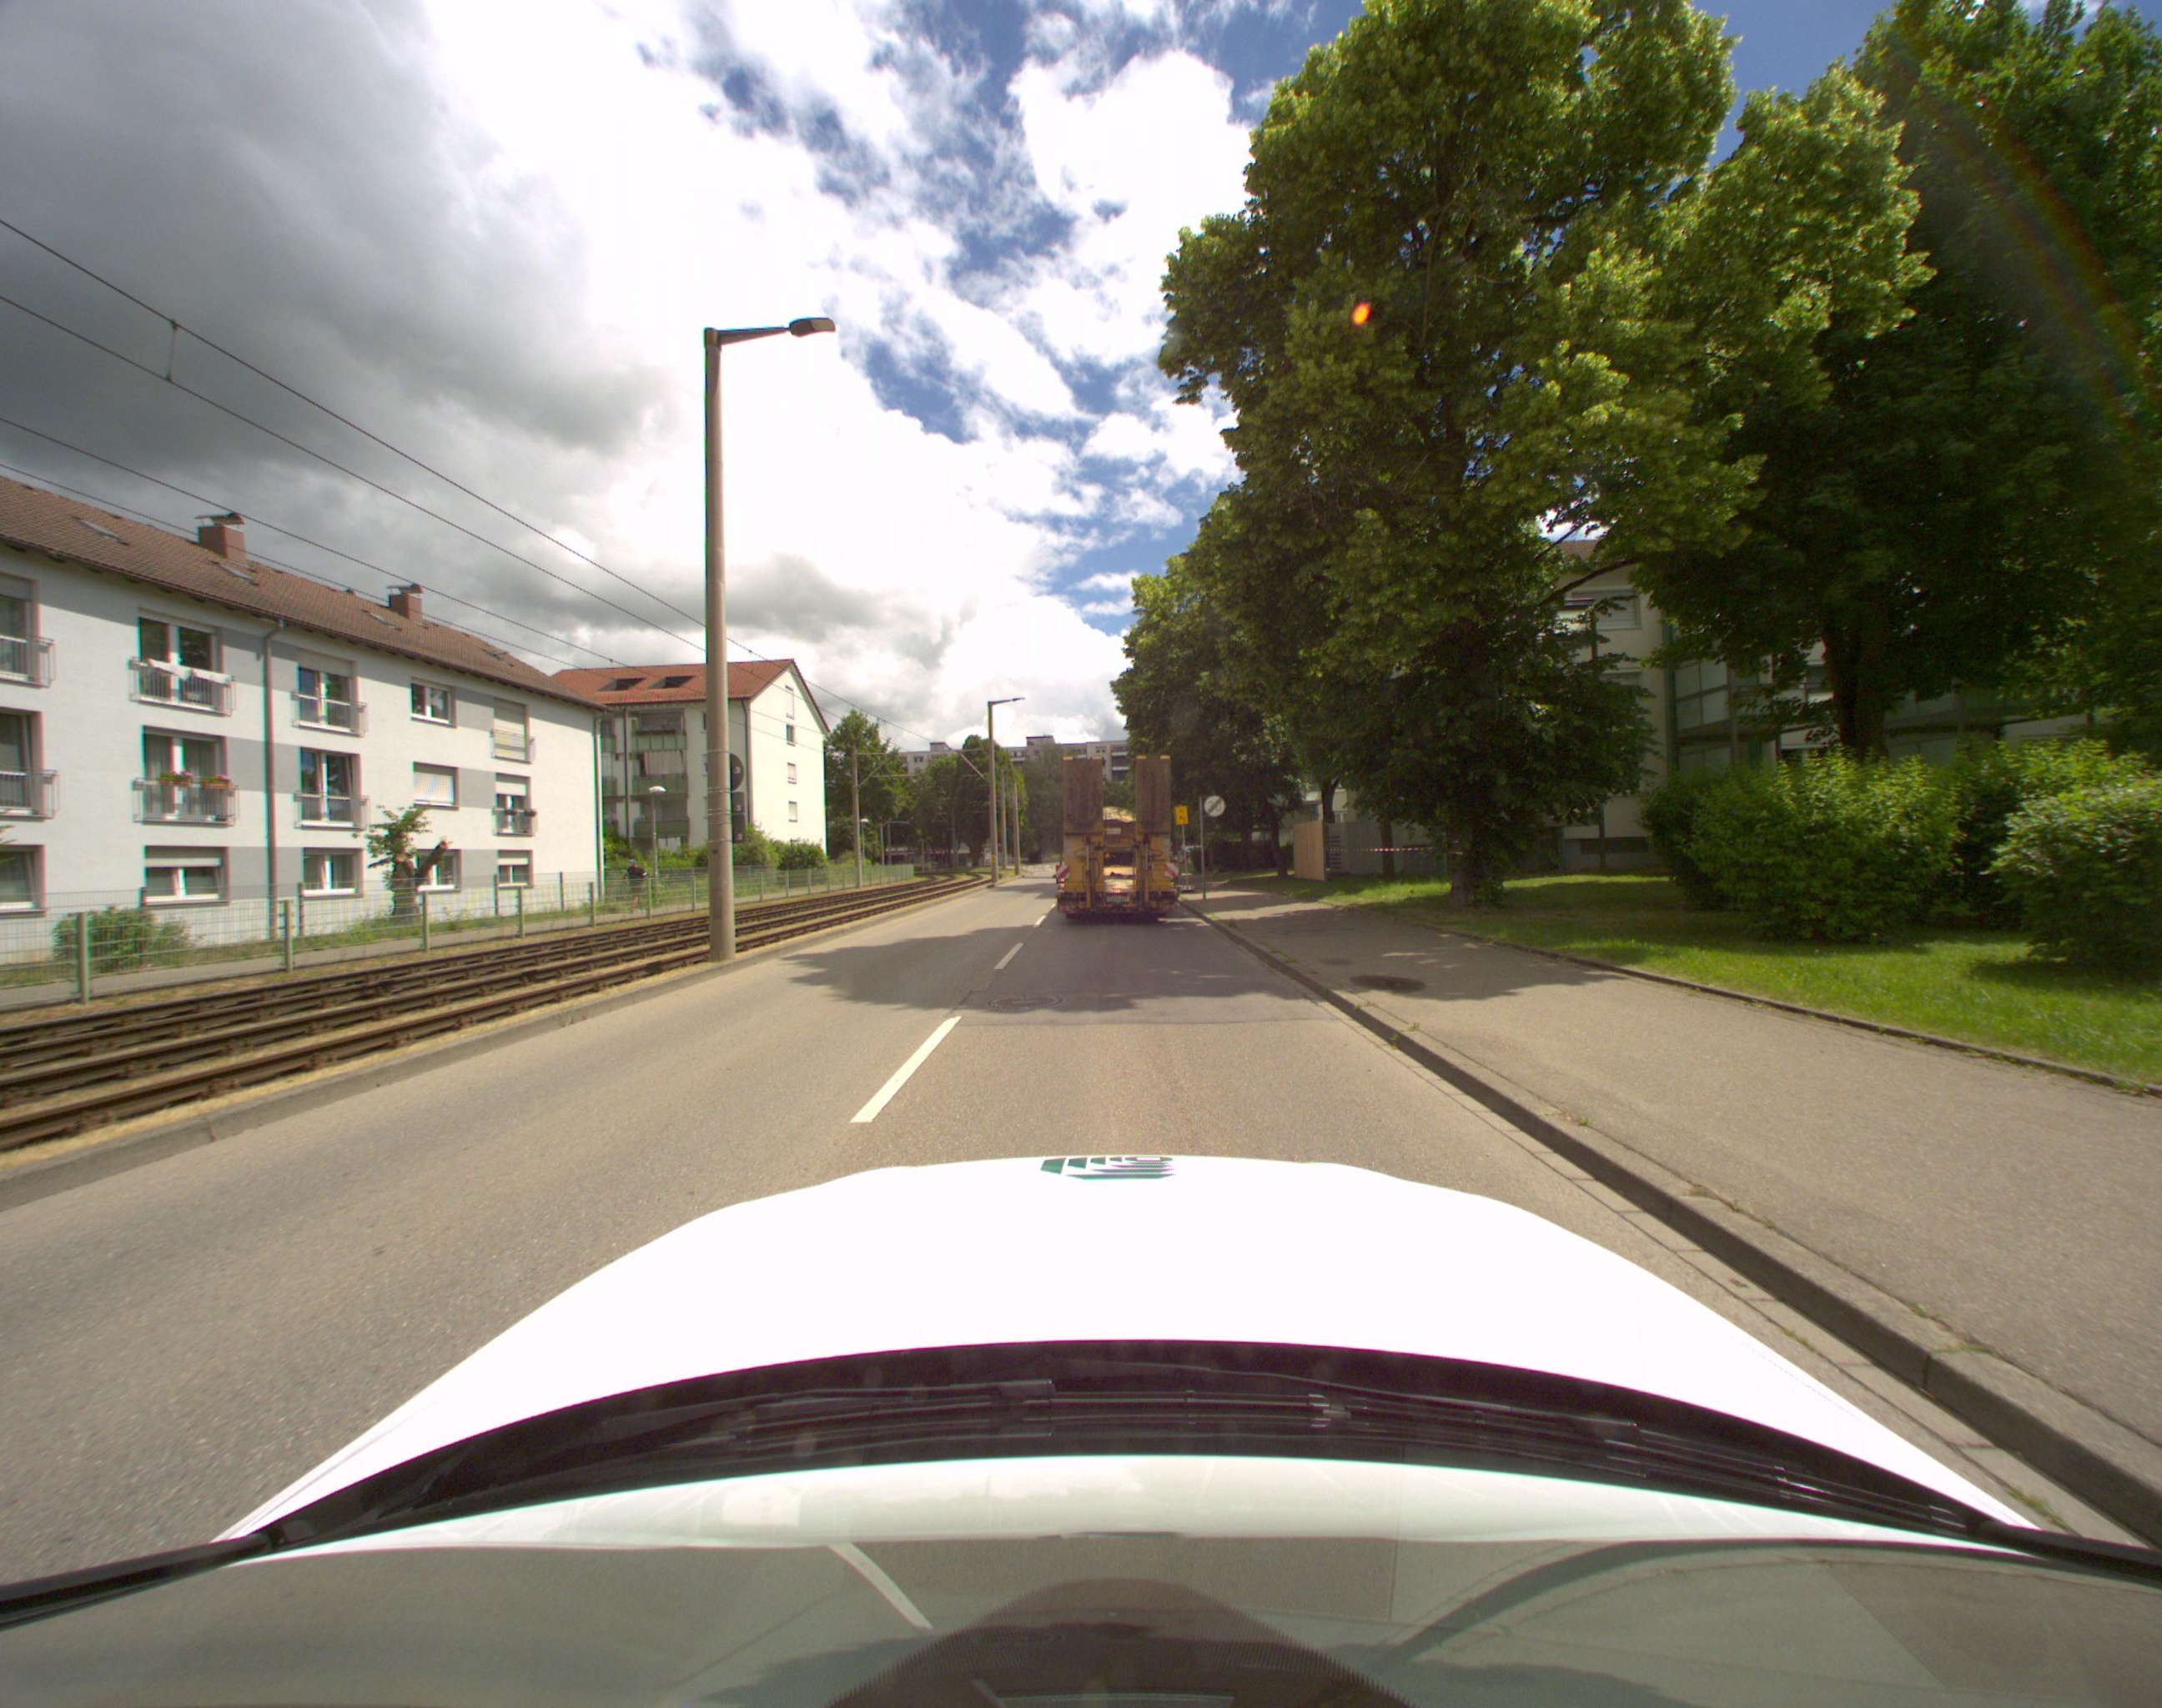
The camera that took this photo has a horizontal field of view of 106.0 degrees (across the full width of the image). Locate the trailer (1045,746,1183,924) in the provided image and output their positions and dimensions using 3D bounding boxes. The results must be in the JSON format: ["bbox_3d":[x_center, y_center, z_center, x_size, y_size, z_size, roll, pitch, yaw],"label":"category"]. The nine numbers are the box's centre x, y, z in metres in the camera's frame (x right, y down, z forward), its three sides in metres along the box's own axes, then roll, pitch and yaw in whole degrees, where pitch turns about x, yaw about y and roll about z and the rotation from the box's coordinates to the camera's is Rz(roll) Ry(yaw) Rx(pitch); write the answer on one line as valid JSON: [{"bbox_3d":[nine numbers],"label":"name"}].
[{"bbox_3d":[0.844,-0.409,22.993,2.817,3.646,12.358,0,0,1],"label":"trailer"}]

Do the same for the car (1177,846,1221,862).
[{"bbox_3d":[11.751,0.029,81.207,3.988,1.561,1.753,0,0,-11],"label":"car"}]

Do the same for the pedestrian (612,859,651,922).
[{"bbox_3d":[-13.782,1.097,24.977,0.657,1.848,0.769,-3,0,1],"label":"pedestrian"}]

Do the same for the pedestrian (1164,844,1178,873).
[{"bbox_3d":[5.546,0.277,50.454,0.715,1.706,0.766,-3,0,1],"label":"pedestrian"}]
